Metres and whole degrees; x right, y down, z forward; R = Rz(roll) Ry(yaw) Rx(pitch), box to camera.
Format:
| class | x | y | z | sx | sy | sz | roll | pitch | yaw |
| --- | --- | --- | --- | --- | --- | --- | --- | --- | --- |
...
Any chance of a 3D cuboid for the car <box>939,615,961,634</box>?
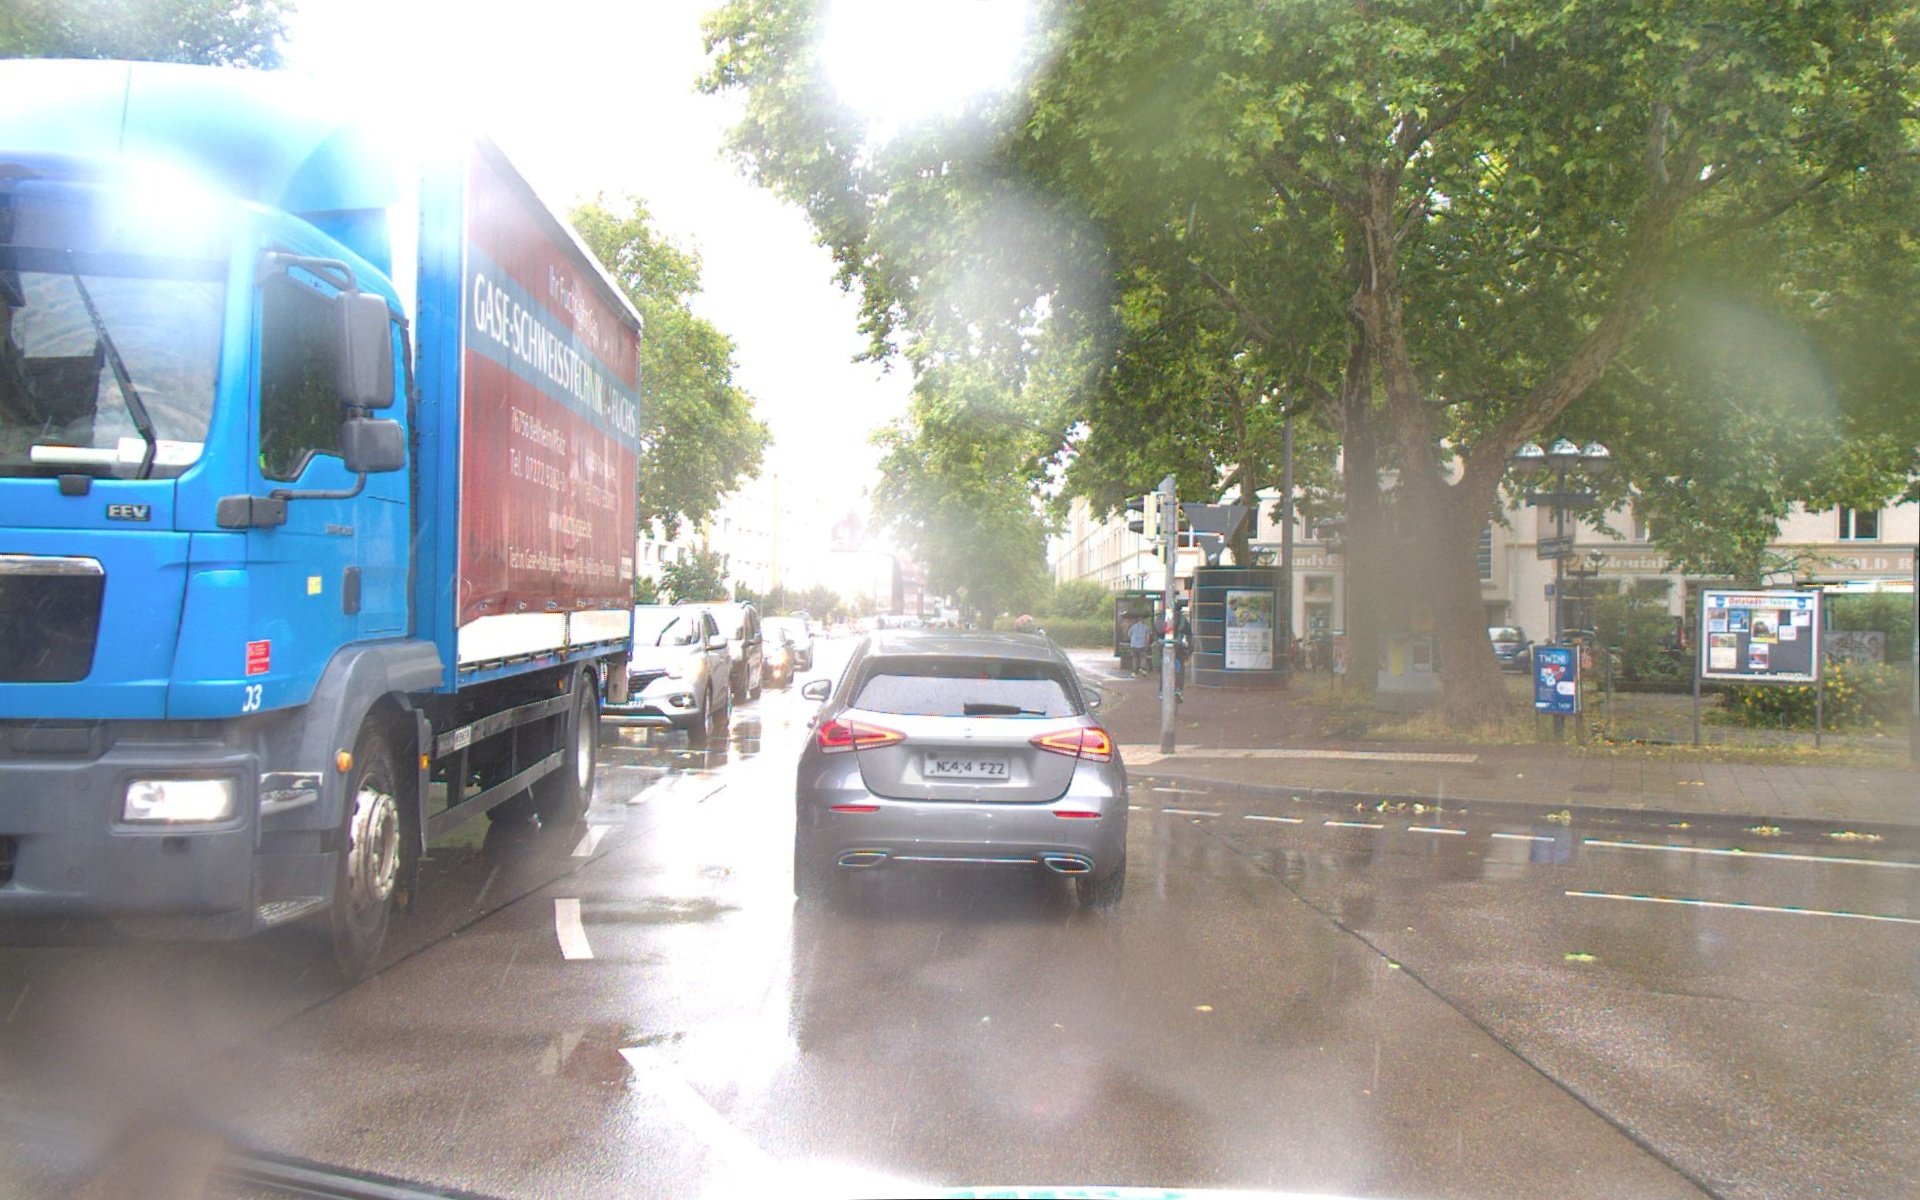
| class | x | y | z | sx | sy | sz | roll | pitch | yaw |
| --- | --- | --- | --- | --- | --- | --- | --- | --- | --- |
| car | -1.005 | 2.493 | 166.894 | 2.004 | 1.868 | 4.792 | 1 | -1 | 1 |

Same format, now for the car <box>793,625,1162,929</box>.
| class | x | y | z | sx | sy | sz | roll | pitch | yaw |
| --- | --- | --- | --- | --- | --- | --- | --- | --- | --- |
| car | 0.021 | 0.894 | 9.825 | 1.755 | 1.396 | 3.505 | 2 | -1 | -2 |

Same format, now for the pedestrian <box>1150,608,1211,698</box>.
| class | x | y | z | sx | sy | sz | roll | pitch | yaw |
| --- | --- | --- | --- | --- | --- | --- | --- | --- | --- |
| pedestrian | 3.555 | 0.836 | 26.673 | 0.729 | 1.422 | 1.047 | 0 | -1 | 23 |

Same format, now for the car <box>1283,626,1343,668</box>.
| class | x | y | z | sx | sy | sz | roll | pitch | yaw |
| --- | --- | --- | --- | --- | --- | --- | --- | --- | --- |
| car | 12.348 | 1.660 | 57.739 | 1.550 | 1.360 | 3.261 | 0 | -3 | 21 |

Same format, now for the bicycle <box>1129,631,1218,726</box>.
| class | x | y | z | sx | sy | sz | roll | pitch | yaw |
| --- | --- | --- | --- | --- | --- | --- | --- | --- | --- |
| bicycle | 3.441 | 1.210 | 26.400 | 0.734 | 1.401 | 2.706 | 0 | -1 | 23 |

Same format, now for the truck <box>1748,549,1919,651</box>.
| class | x | y | z | sx | sy | sz | roll | pitch | yaw |
| --- | --- | --- | --- | --- | --- | --- | --- | --- | --- |
| truck | 25.554 | 0.020 | 46.116 | 6.246 | 2.747 | 2.268 | 1 | -1 | 19 |

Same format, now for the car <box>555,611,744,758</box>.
| class | x | y | z | sx | sy | sz | roll | pitch | yaw |
| --- | --- | --- | --- | --- | --- | --- | --- | --- | --- |
| car | -3.754 | 0.979 | 20.623 | 1.707 | 1.632 | 3.998 | 1 | -1 | -2 |

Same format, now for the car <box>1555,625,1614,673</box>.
| class | x | y | z | sx | sy | sz | roll | pitch | yaw |
| --- | --- | --- | --- | --- | --- | --- | --- | --- | --- |
| car | 20.771 | 1.642 | 54.955 | 1.645 | 1.457 | 3.734 | 0 | -3 | 23 |

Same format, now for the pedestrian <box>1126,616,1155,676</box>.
| class | x | y | z | sx | sy | sz | roll | pitch | yaw |
| --- | --- | --- | --- | --- | --- | --- | --- | --- | --- |
| pedestrian | 5.218 | 1.325 | 47.790 | 0.702 | 1.698 | 0.665 | 1 | -1 | -3 |

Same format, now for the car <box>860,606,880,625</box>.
| class | x | y | z | sx | sy | sz | roll | pitch | yaw |
| --- | --- | --- | --- | --- | --- | --- | --- | --- | --- |
| car | -9.460 | 1.645 | 174.117 | 1.850 | 1.868 | 4.000 | 1 | -1 | 1 |

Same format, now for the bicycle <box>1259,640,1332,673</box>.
| class | x | y | z | sx | sy | sz | roll | pitch | yaw |
| --- | --- | --- | --- | --- | --- | --- | --- | --- | --- |
| bicycle | 10.739 | 1.805 | 53.017 | 2.234 | 1.000 | 0.545 | 0 | -1 | 21 |

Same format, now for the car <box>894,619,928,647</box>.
| class | x | y | z | sx | sy | sz | roll | pitch | yaw |
| --- | --- | --- | --- | --- | --- | --- | --- | --- | --- |
| car | -2.945 | 1.958 | 98.807 | 1.954 | 1.601 | 3.997 | 1 | -1 | -3 |

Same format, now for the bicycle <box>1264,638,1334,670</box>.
| class | x | y | z | sx | sy | sz | roll | pitch | yaw |
| --- | --- | --- | --- | --- | --- | --- | --- | --- | --- |
| bicycle | 11.193 | 1.783 | 54.606 | 2.200 | 0.985 | 0.585 | 0 | -1 | 21 |

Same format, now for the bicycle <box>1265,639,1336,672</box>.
| class | x | y | z | sx | sy | sz | roll | pitch | yaw |
| --- | --- | --- | --- | --- | --- | --- | --- | --- | --- |
| bicycle | 11.054 | 1.797 | 53.752 | 2.205 | 0.985 | 0.534 | 0 | -1 | 21 |

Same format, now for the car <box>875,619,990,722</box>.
| class | x | y | z | sx | sy | sz | roll | pitch | yaw |
| --- | --- | --- | --- | --- | --- | --- | --- | --- | --- |
| car | -0.462 | 0.988 | 24.678 | 1.575 | 1.396 | 3.998 | 0 | 0 | -2 |

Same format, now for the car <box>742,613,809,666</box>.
| class | x | y | z | sx | sy | sz | roll | pitch | yaw |
| --- | --- | --- | --- | --- | --- | --- | --- | --- | --- |
| car | -5.603 | 1.187 | 50.590 | 1.808 | 1.536 | 4.052 | 1 | -1 | -3 |

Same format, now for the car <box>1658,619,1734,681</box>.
| class | x | y | z | sx | sy | sz | roll | pitch | yaw |
| --- | --- | --- | --- | --- | --- | --- | --- | --- | --- |
| car | 23.769 | 1.642 | 53.506 | 2.111 | 1.870 | 3.999 | 0 | -3 | 22 |

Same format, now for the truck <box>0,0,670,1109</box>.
| class | x | y | z | sx | sy | sz | roll | pitch | yaw |
| --- | --- | --- | --- | --- | --- | --- | --- | --- | --- |
| truck | -3.700 | -0.538 | 9.888 | 2.789 | 4.096 | 10.307 | 0 | -1 | -4 |

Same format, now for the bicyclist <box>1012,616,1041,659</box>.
| class | x | y | z | sx | sy | sz | roll | pitch | yaw |
| --- | --- | --- | --- | --- | --- | --- | --- | --- | --- |
| bicyclist | 2.907 | 1.650 | 72.390 | 0.925 | 1.901 | 1.135 | 1 | -3 | -21 |

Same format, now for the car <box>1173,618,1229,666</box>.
| class | x | y | z | sx | sy | sz | roll | pitch | yaw |
| --- | --- | --- | --- | --- | --- | --- | --- | --- | --- |
| car | 8.582 | 1.528 | 58.713 | 1.652 | 1.578 | 3.525 | 1 | -3 | 13 |

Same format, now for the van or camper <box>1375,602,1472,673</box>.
| class | x | y | z | sx | sy | sz | roll | pitch | yaw |
| --- | --- | --- | --- | --- | --- | --- | --- | --- | --- |
| van or camper | 15.904 | 1.265 | 56.543 | 2.349 | 2.270 | 5.425 | 0 | -1 | 25 |

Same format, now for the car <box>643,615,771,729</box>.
| class | x | y | z | sx | sy | sz | roll | pitch | yaw |
| --- | --- | --- | --- | --- | --- | --- | --- | --- | --- |
| car | -4.485 | 1.235 | 29.811 | 1.770 | 1.894 | 4.107 | 1 | -1 | -2 |

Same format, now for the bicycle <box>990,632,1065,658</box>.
| class | x | y | z | sx | sy | sz | roll | pitch | yaw |
| --- | --- | --- | --- | --- | --- | --- | --- | --- | --- |
| bicycle | 2.971 | 1.971 | 72.447 | 3.160 | 1.132 | 1.047 | 1 | -3 | -21 |

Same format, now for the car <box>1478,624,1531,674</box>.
| class | x | y | z | sx | sy | sz | roll | pitch | yaw |
| --- | --- | --- | --- | --- | --- | --- | --- | --- | --- |
| car | 18.243 | 1.640 | 55.479 | 1.644 | 1.603 | 3.737 | 1 | -2 | 18 |

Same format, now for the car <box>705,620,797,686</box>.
| class | x | y | z | sx | sy | sz | roll | pitch | yaw |
| --- | --- | --- | --- | --- | --- | --- | --- | --- | --- |
| car | -4.864 | 1.227 | 39.036 | 1.707 | 1.414 | 4.360 | 2 | -1 | -2 |
